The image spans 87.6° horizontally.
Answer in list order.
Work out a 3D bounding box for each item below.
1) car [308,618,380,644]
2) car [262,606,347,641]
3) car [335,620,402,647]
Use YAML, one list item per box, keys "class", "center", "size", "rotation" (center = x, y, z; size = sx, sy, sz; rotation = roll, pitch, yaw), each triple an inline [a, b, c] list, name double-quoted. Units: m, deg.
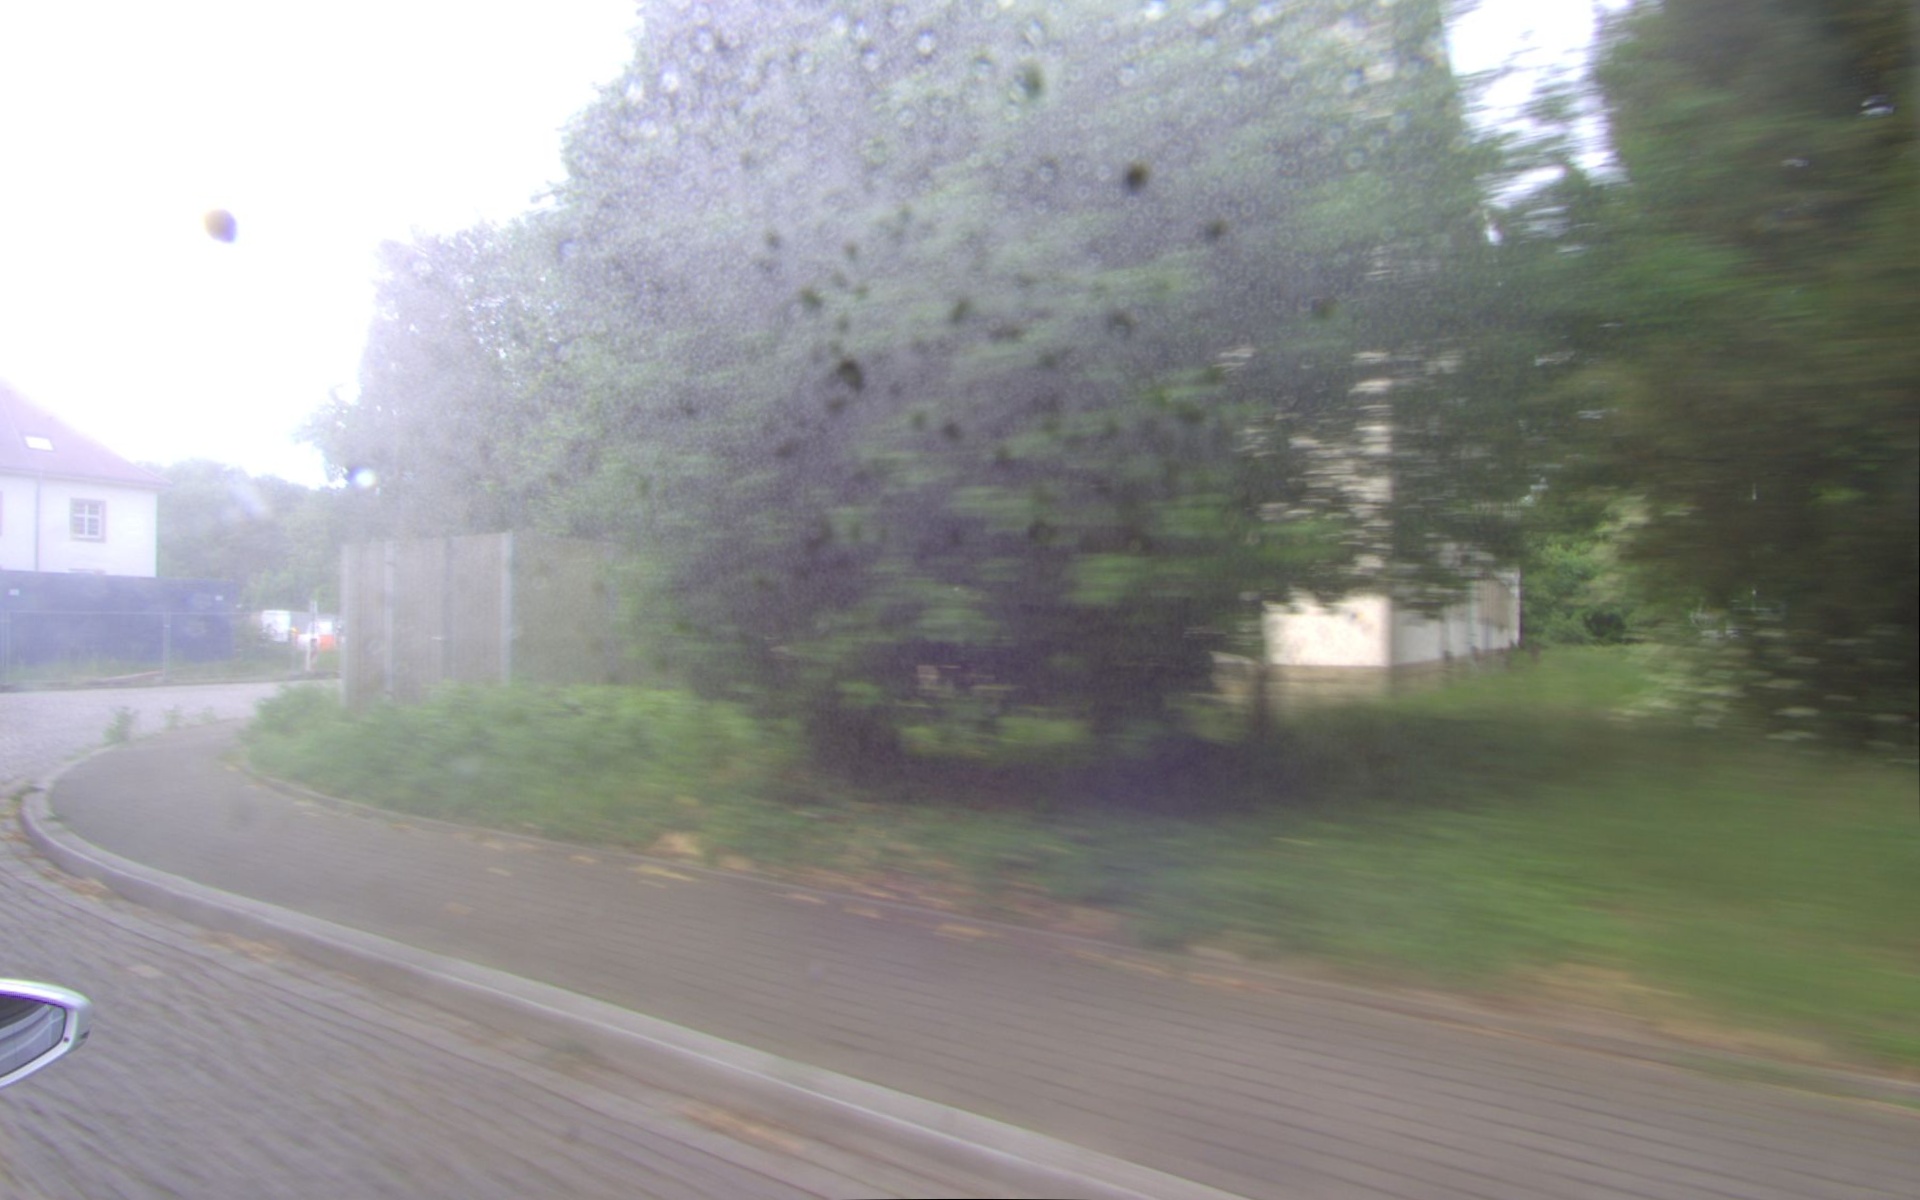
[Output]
- class: "car"
  center: [-38.048, 1.905, 61.973]
  size: [1.730, 1.521, 4.447]
  rotation: [0, -2, 0]
- class: "car"
  center: [-40.890, 1.482, 62.662]
  size: [1.730, 2.069, 5.423]
  rotation: [0, -2, 0]
- class: "car"
  center: [-35.217, 1.991, 59.717]
  size: [1.589, 1.506, 3.989]
  rotation: [1, -1, 0]
